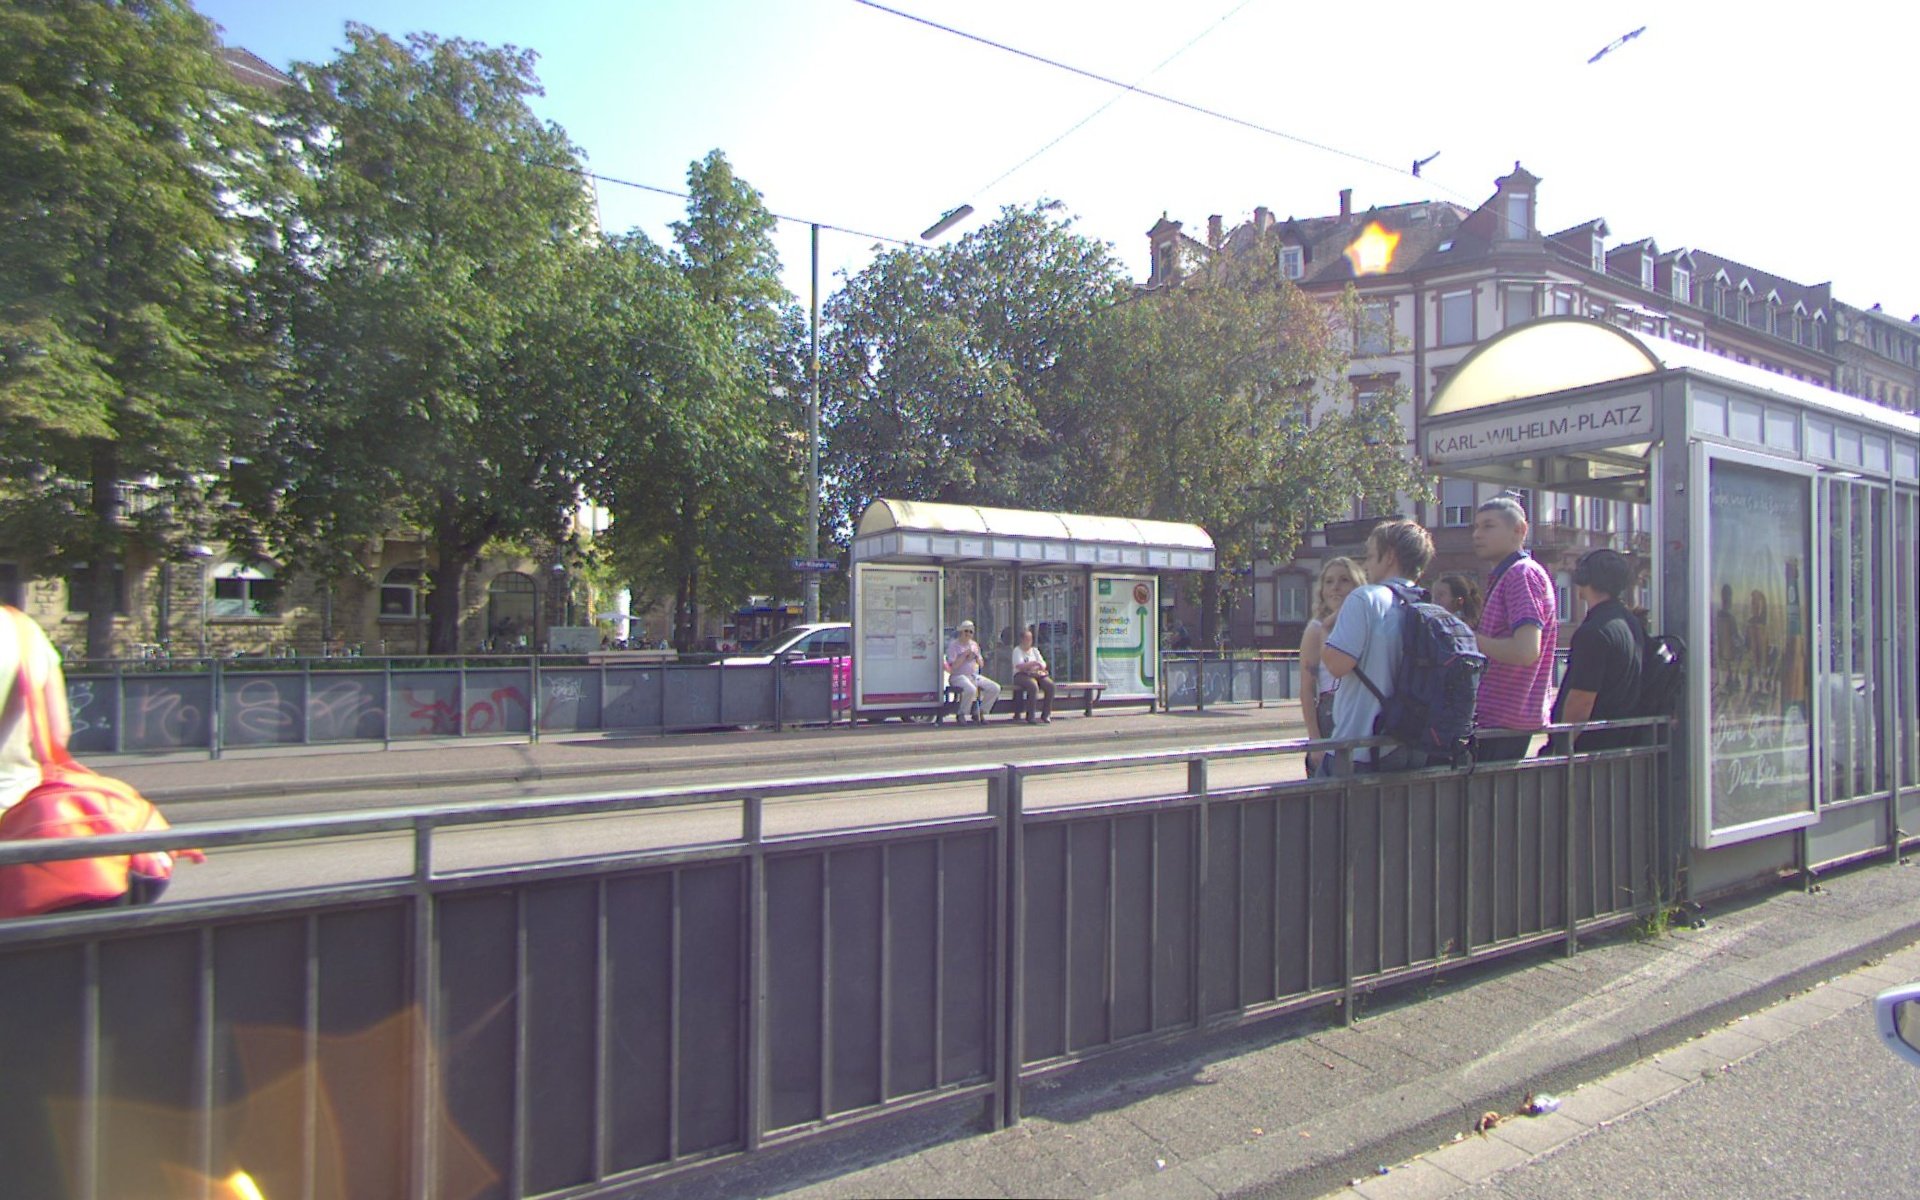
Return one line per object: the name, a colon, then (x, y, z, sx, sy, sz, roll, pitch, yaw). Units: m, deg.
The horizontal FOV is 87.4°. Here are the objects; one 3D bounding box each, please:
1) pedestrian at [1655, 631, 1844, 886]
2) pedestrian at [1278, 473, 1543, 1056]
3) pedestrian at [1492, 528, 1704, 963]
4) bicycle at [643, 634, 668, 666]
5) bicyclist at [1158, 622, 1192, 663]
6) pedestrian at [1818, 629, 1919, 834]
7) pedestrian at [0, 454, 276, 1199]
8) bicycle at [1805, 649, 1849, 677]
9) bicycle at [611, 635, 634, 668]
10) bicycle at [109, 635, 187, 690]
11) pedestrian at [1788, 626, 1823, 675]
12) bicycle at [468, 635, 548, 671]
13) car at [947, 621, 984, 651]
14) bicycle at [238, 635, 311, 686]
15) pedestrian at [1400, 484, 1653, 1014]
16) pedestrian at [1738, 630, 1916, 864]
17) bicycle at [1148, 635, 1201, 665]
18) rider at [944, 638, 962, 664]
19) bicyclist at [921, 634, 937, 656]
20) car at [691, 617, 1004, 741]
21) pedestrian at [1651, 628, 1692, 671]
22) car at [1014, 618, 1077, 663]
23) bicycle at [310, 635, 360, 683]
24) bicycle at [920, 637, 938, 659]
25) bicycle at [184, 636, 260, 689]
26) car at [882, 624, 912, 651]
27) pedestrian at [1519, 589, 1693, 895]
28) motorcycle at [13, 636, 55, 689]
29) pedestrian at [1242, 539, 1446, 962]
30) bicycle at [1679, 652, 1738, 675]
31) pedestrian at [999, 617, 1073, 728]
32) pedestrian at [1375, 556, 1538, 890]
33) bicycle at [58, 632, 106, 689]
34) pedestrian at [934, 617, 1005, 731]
pedestrian: (4.569, 0.863, 5.828, 0.615, 1.357, 0.683, 1, -2, -30)
pedestrian: (1.624, 0.537, 3.667, 0.626, 1.872, 0.634, 1, -2, -28)
pedestrian: (2.872, 0.607, 4.543, 0.599, 1.787, 0.586, 1, -2, -28)
bicycle: (-11.009, 1.795, 36.284, 0.647, 1.118, 2.082, 1, -2, -22)
bicyclist: (7.819, 1.527, 36.478, 1.061, 1.460, 0.656, -1, -2, 33)
pedestrian: (6.724, 0.909, 7.216, 0.615, 1.396, 0.683, 1, -2, -30)
pedestrian: (-2.114, 0.566, 2.211, 0.861, 1.676, 0.804, 2, -2, -44)
bicycle: (32.541, 2.355, 37.699, 2.126, 1.020, 0.615, 2, -2, -31)
bicycle: (-12.058, 1.823, 35.841, 0.647, 1.118, 2.082, 1, -2, -22)
bicycle: (-21.479, 1.628, 26.566, 2.263, 1.389, 0.866, -1, -2, 31)
pedestrian: (31.862, 1.897, 37.854, 1.081, 1.830, 0.724, 1, -2, -32)
bicycle: (-14.846, 1.730, 33.012, 2.309, 1.118, 0.767, 2, -2, -33)
car: (0.347, 2.583, 72.138, 2.042, 2.043, 4.587, 1, -2, -7)
bicycle: (-19.751, 1.720, 28.921, 2.263, 1.389, 0.866, -1, -2, 31)
pedestrian: (2.231, 0.536, 3.990, 0.626, 1.872, 0.634, 1, -2, -28)
pedestrian: (5.578, 0.894, 6.482, 0.615, 1.396, 0.704, 1, -2, -30)
bicycle: (7.780, 1.803, 36.496, 1.760, 1.028, 0.656, -1, -2, 33)
rider: (-0.443, 3.195, 63.161, 0.979, 1.531, 1.113, 1, -1, -8)
bicyclist: (-2.215, 3.220, 71.863, 0.979, 1.531, 1.113, 1, -1, -8)
car: (-1.705, 1.144, 15.559, 4.428, 1.672, 1.985, 1, -2, -29)
pedestrian: (26.694, 1.848, 37.690, 0.927, 1.591, 0.842, 0, -1, 3)
car: (4.043, 1.922, 48.256, 2.042, 2.043, 4.587, 1, -2, -7)
bicycle: (-18.752, 1.743, 30.119, 0.861, 1.389, 2.275, 2, -2, -42)
bicycle: (-2.249, 3.388, 71.897, 0.979, 1.474, 2.881, 1, -1, -8)
bicycle: (-20.427, 1.708, 27.780, 2.263, 1.389, 0.866, -1, -2, 31)
car: (-5.089, 2.992, 80.807, 2.042, 2.043, 4.587, 1, -2, -7)
pedestrian: (3.563, 0.739, 5.558, 0.599, 1.565, 0.586, 1, -2, -28)
motorcycle: (-22.797, 1.516, 24.717, 0.673, 1.193, 1.859, 2, -1, -45)
pedestrian: (1.764, 0.641, 4.652, 0.626, 1.771, 0.634, 1, -2, -28)
bicycle: (28.755, 2.433, 38.615, 1.791, 0.871, 0.528, 0, -1, 8)
pedestrian: (1.052, 0.990, 13.975, 0.710, 1.475, 0.789, 1, -2, -30)
pedestrian: (2.788, 0.656, 5.663, 0.599, 1.743, 0.586, 1, -2, -28)
bicycle: (-22.212, 1.502, 25.440, 0.861, 1.389, 2.276, 2, -2, -41)
pedestrian: (0.121, 0.969, 13.453, 0.710, 1.475, 0.674, 1, -2, -30)
